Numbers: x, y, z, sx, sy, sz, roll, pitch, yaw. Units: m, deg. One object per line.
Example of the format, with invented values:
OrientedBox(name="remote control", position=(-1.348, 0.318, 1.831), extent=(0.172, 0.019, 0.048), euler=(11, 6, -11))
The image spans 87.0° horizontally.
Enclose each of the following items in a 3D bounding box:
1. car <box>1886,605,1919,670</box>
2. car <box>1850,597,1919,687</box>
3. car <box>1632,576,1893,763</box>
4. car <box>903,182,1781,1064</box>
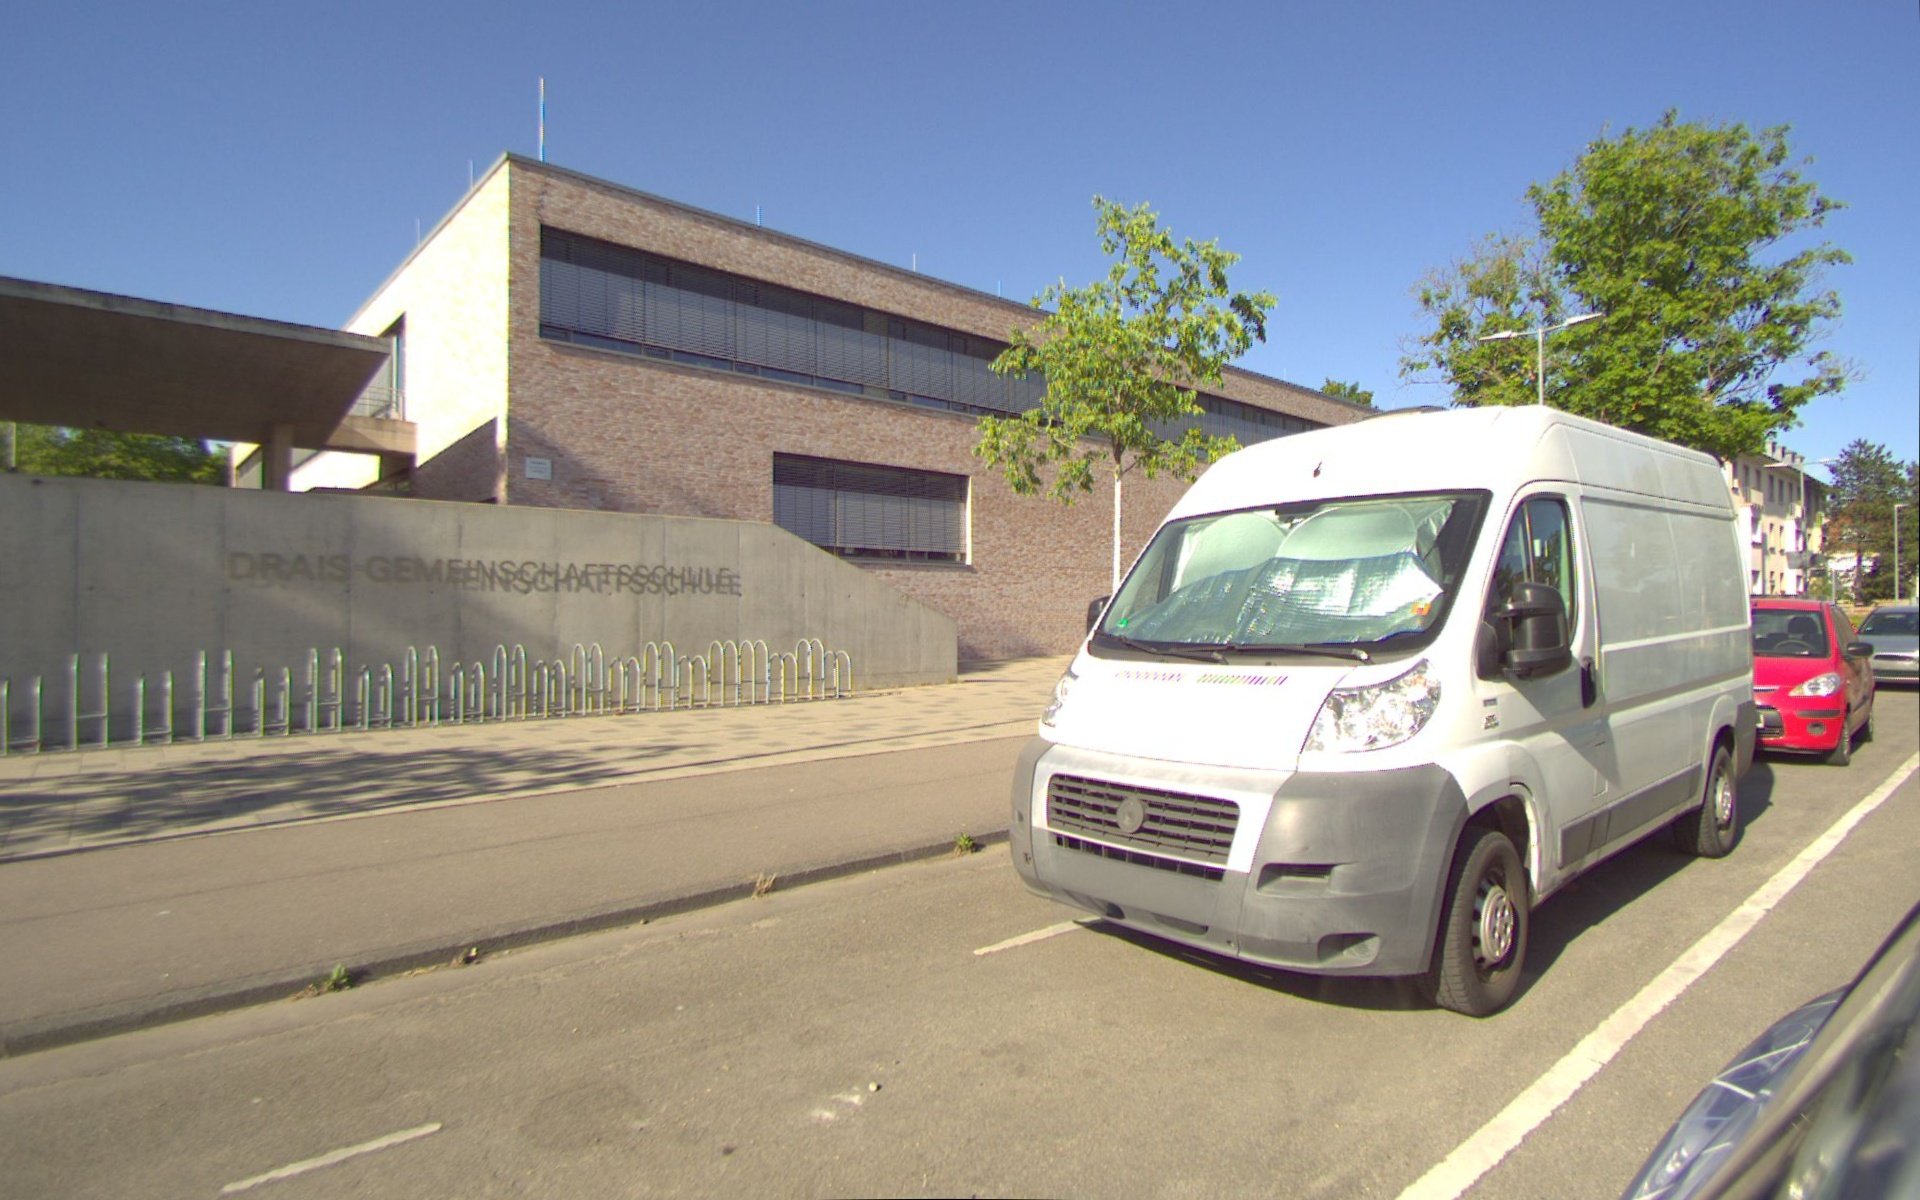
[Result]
OrientedBox(name="car", position=(21.855, 0.775, 22.303), extent=(4.058, 1.342, 1.704), euler=(0, -1, -42))
OrientedBox(name="car", position=(17.598, 0.701, 18.303), extent=(4.100, 1.497, 1.704), euler=(0, -1, -41))
OrientedBox(name="car", position=(8.428, 0.610, 10.525), extent=(3.531, 1.609, 1.621), euler=(0, -1, -43))
OrientedBox(name="car", position=(2.490, 0.069, 5.603), extent=(5.337, 2.607, 2.244), euler=(0, -1, -41))
